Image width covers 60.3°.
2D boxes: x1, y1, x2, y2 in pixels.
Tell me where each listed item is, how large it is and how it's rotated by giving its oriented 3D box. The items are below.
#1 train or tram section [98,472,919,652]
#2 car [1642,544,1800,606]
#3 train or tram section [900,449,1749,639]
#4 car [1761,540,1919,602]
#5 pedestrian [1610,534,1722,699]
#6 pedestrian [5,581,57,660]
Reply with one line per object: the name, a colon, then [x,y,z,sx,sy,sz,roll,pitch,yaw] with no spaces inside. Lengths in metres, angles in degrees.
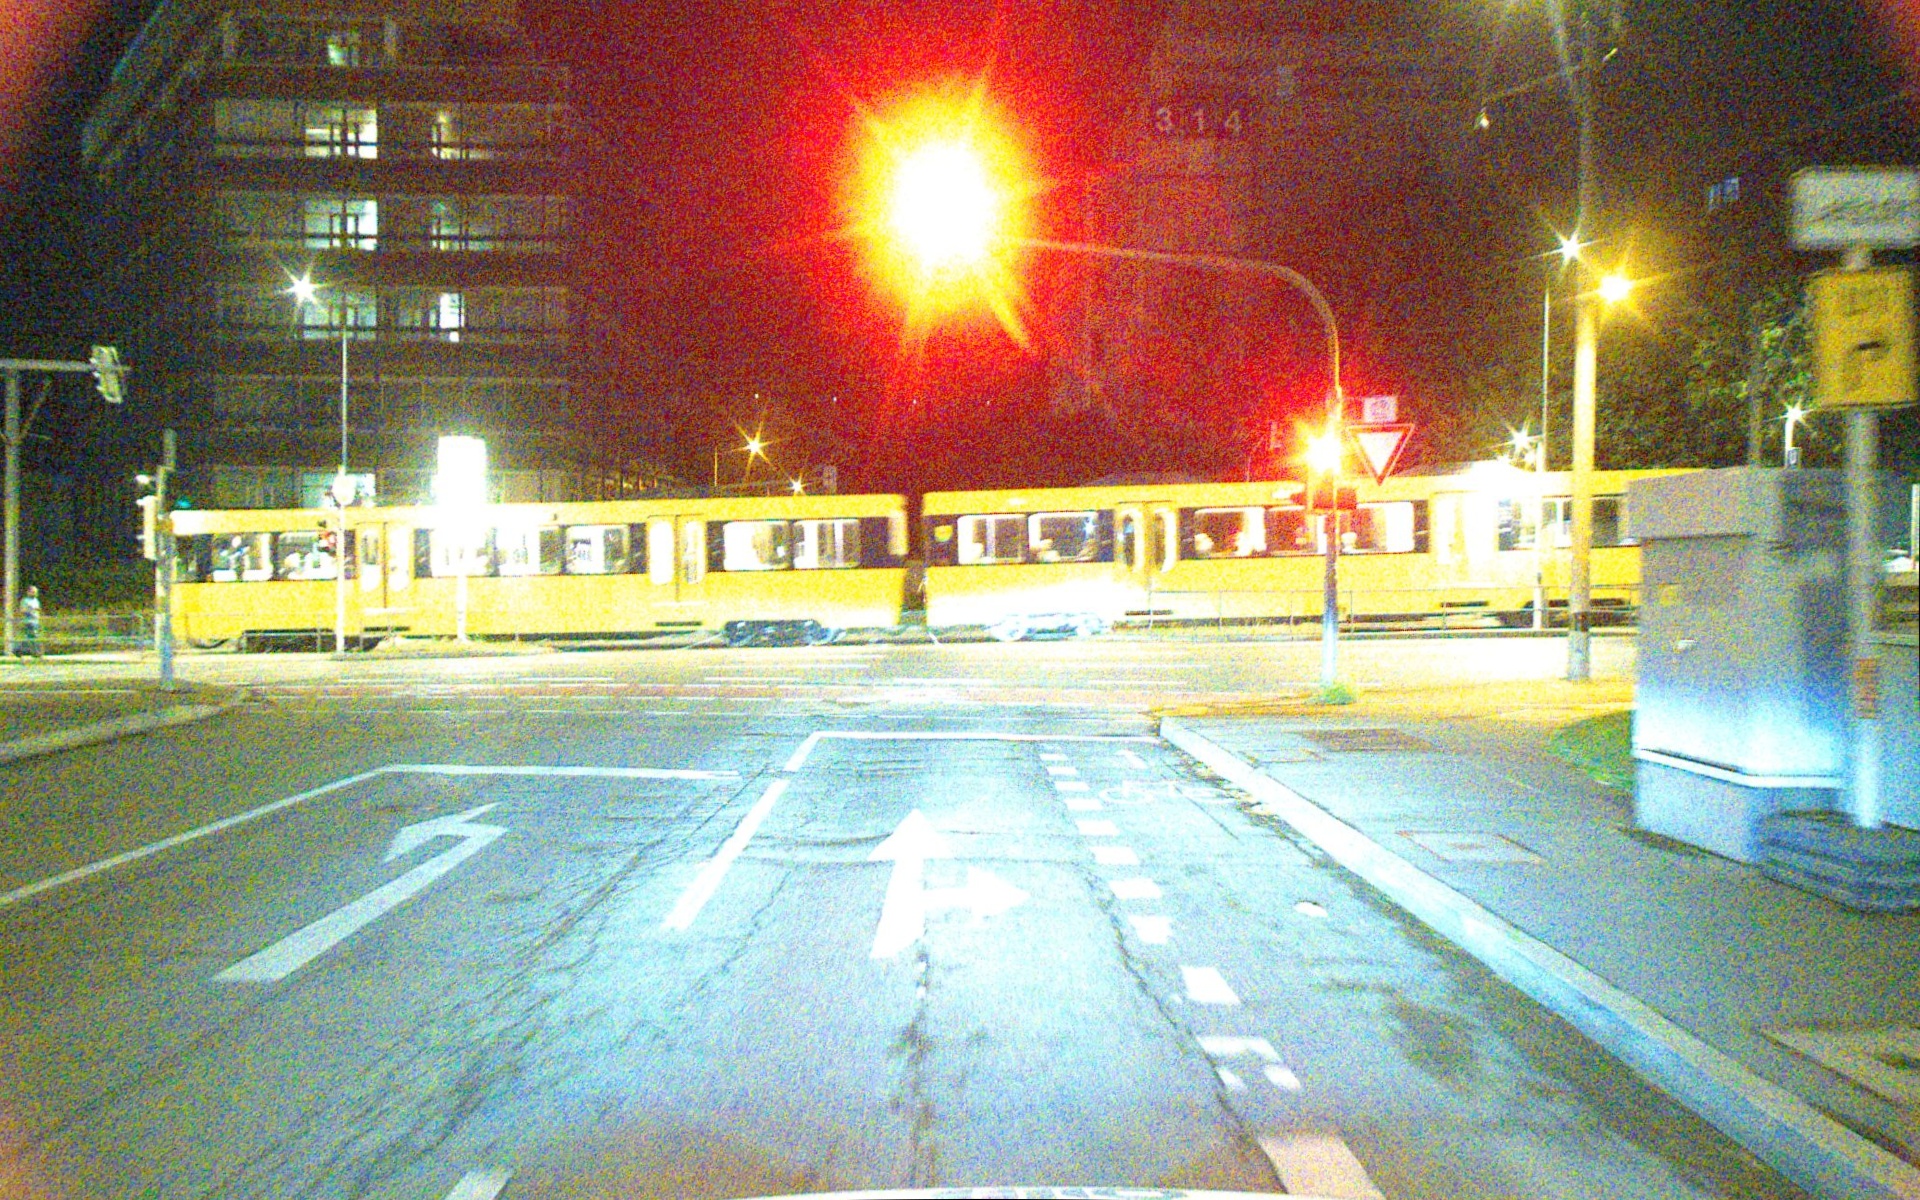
train or tram section: [-10.818,-0.866,40.252,19.375,3.929,2.942,-1,0,5]
car: [21.667,-0.718,47.214,3.685,1.553,1.760,-3,0,8]
train or tram section: [8.135,-1.228,38.696,18.769,3.890,2.925,-1,0,5]
car: [26.776,-0.886,50.287,3.902,1.601,1.887,-4,0,10]
pedestrian: [7.754,0.178,18.192,0.881,1.742,0.775,-2,0,5]
pedestrian: [-21.303,0.457,37.946,0.749,1.767,0.659,-2,1,0]
